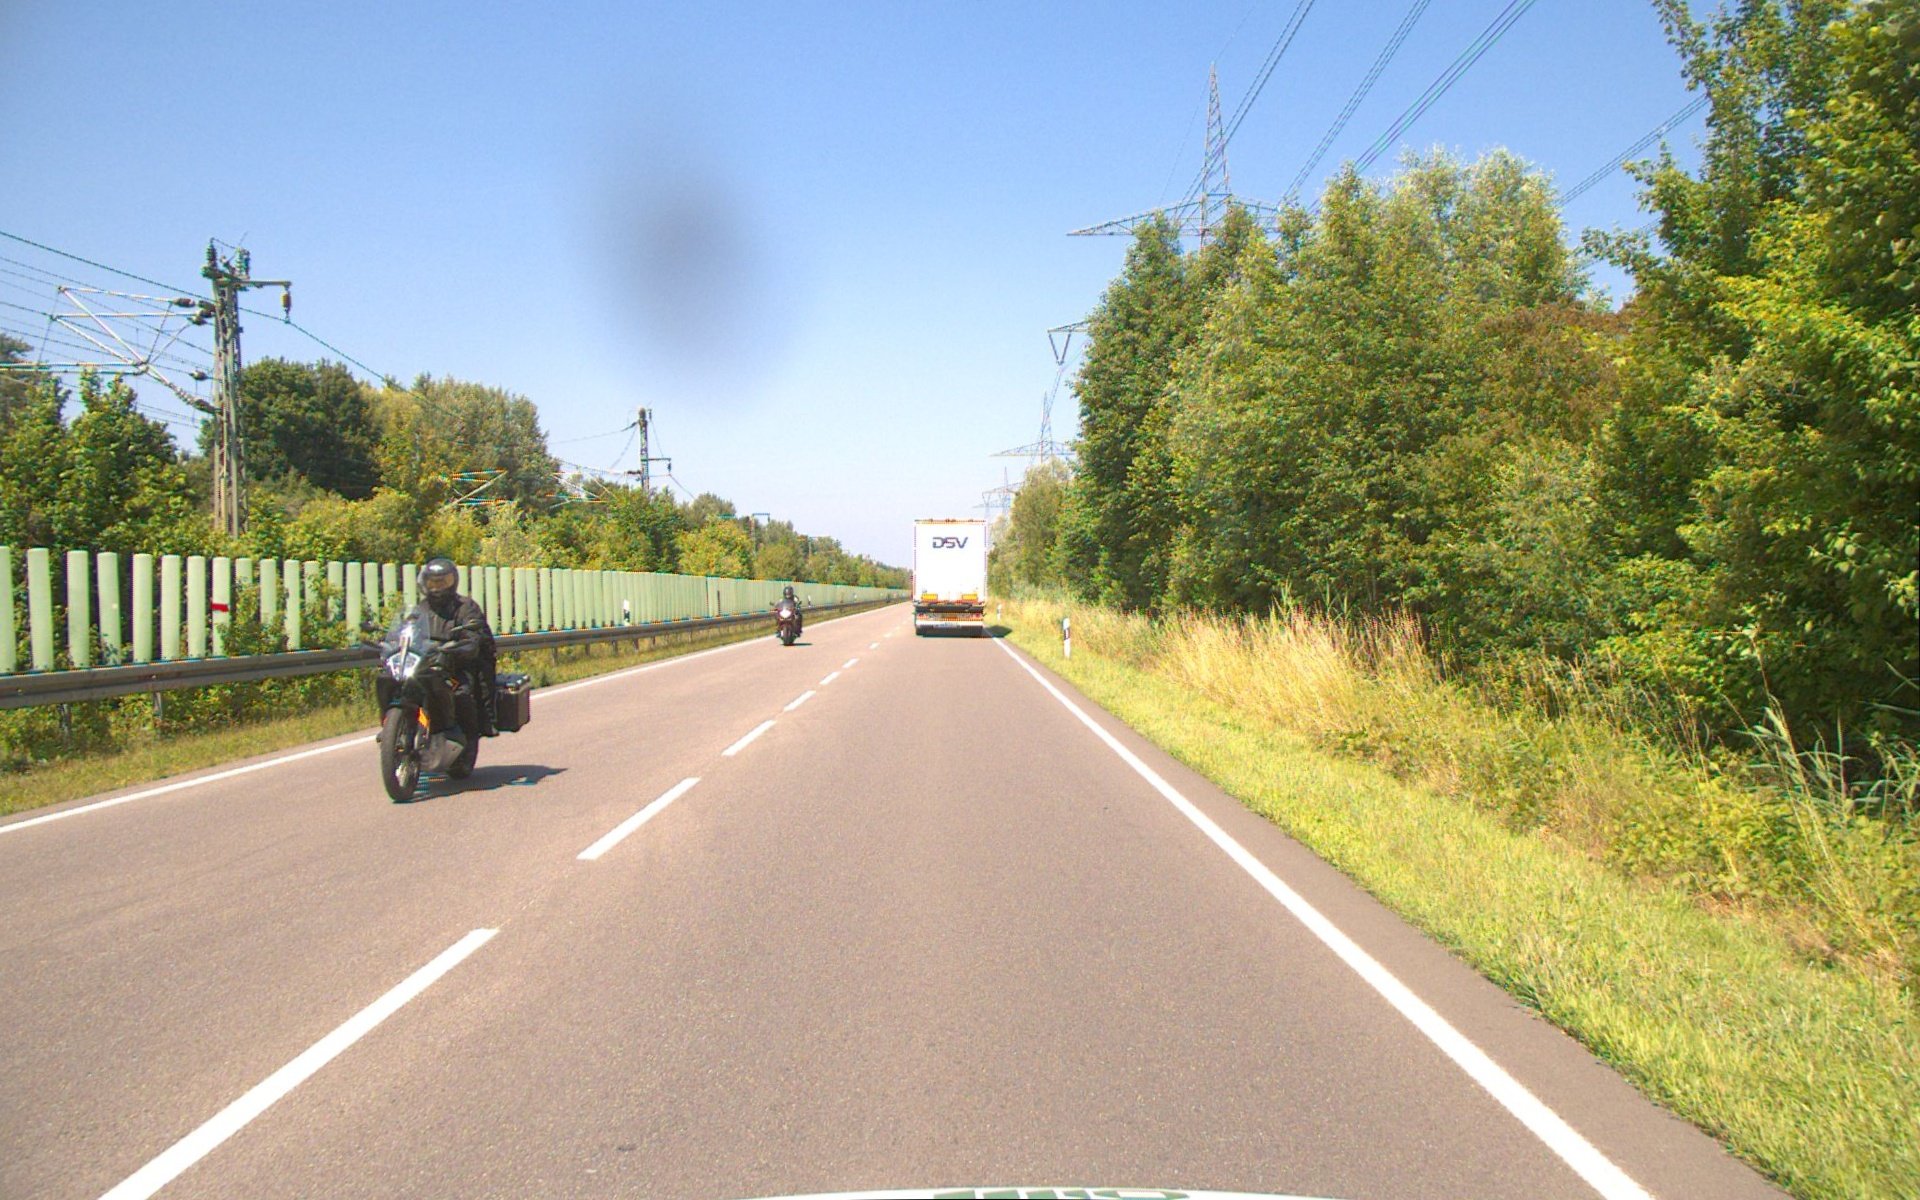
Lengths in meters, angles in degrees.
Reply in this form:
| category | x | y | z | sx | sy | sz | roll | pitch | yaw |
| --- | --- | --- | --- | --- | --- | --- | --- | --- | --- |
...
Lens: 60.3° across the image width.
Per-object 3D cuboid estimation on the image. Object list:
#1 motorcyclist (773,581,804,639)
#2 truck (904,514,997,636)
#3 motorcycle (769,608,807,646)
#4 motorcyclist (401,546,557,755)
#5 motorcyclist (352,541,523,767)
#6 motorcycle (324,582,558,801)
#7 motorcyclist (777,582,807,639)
| category | x | y | z | sx | sy | sz | roll | pitch | yaw |
| --- | --- | --- | --- | --- | --- | --- | --- | --- | --- |
| motorcyclist | -4.857 | 0.285 | 46.886 | 0.742 | 1.610 | 1.003 | 1 | 0 | 1 |
| truck | -0.426 | -0.877 | 62.033 | 3.127 | 4.113 | 12.004 | 0 | 0 | -1 |
| motorcycle | -4.873 | 0.757 | 46.988 | 0.738 | 1.031 | 2.721 | 1 | 0 | 1 |
| motorcyclist | -3.940 | 0.402 | 13.625 | 0.939 | 1.637 | 1.003 | 1 | 0 | 1 |
| motorcyclist | -3.959 | 0.396 | 12.607 | 0.939 | 1.637 | 1.003 | 1 | 0 | 1 |
| motorcycle | -3.959 | 0.645 | 12.912 | 0.948 | 1.522 | 2.630 | -1 | 0 | 1 |
| motorcyclist | -4.846 | 0.292 | 47.837 | 0.734 | 1.610 | 0.864 | 1 | 0 | 1 |
